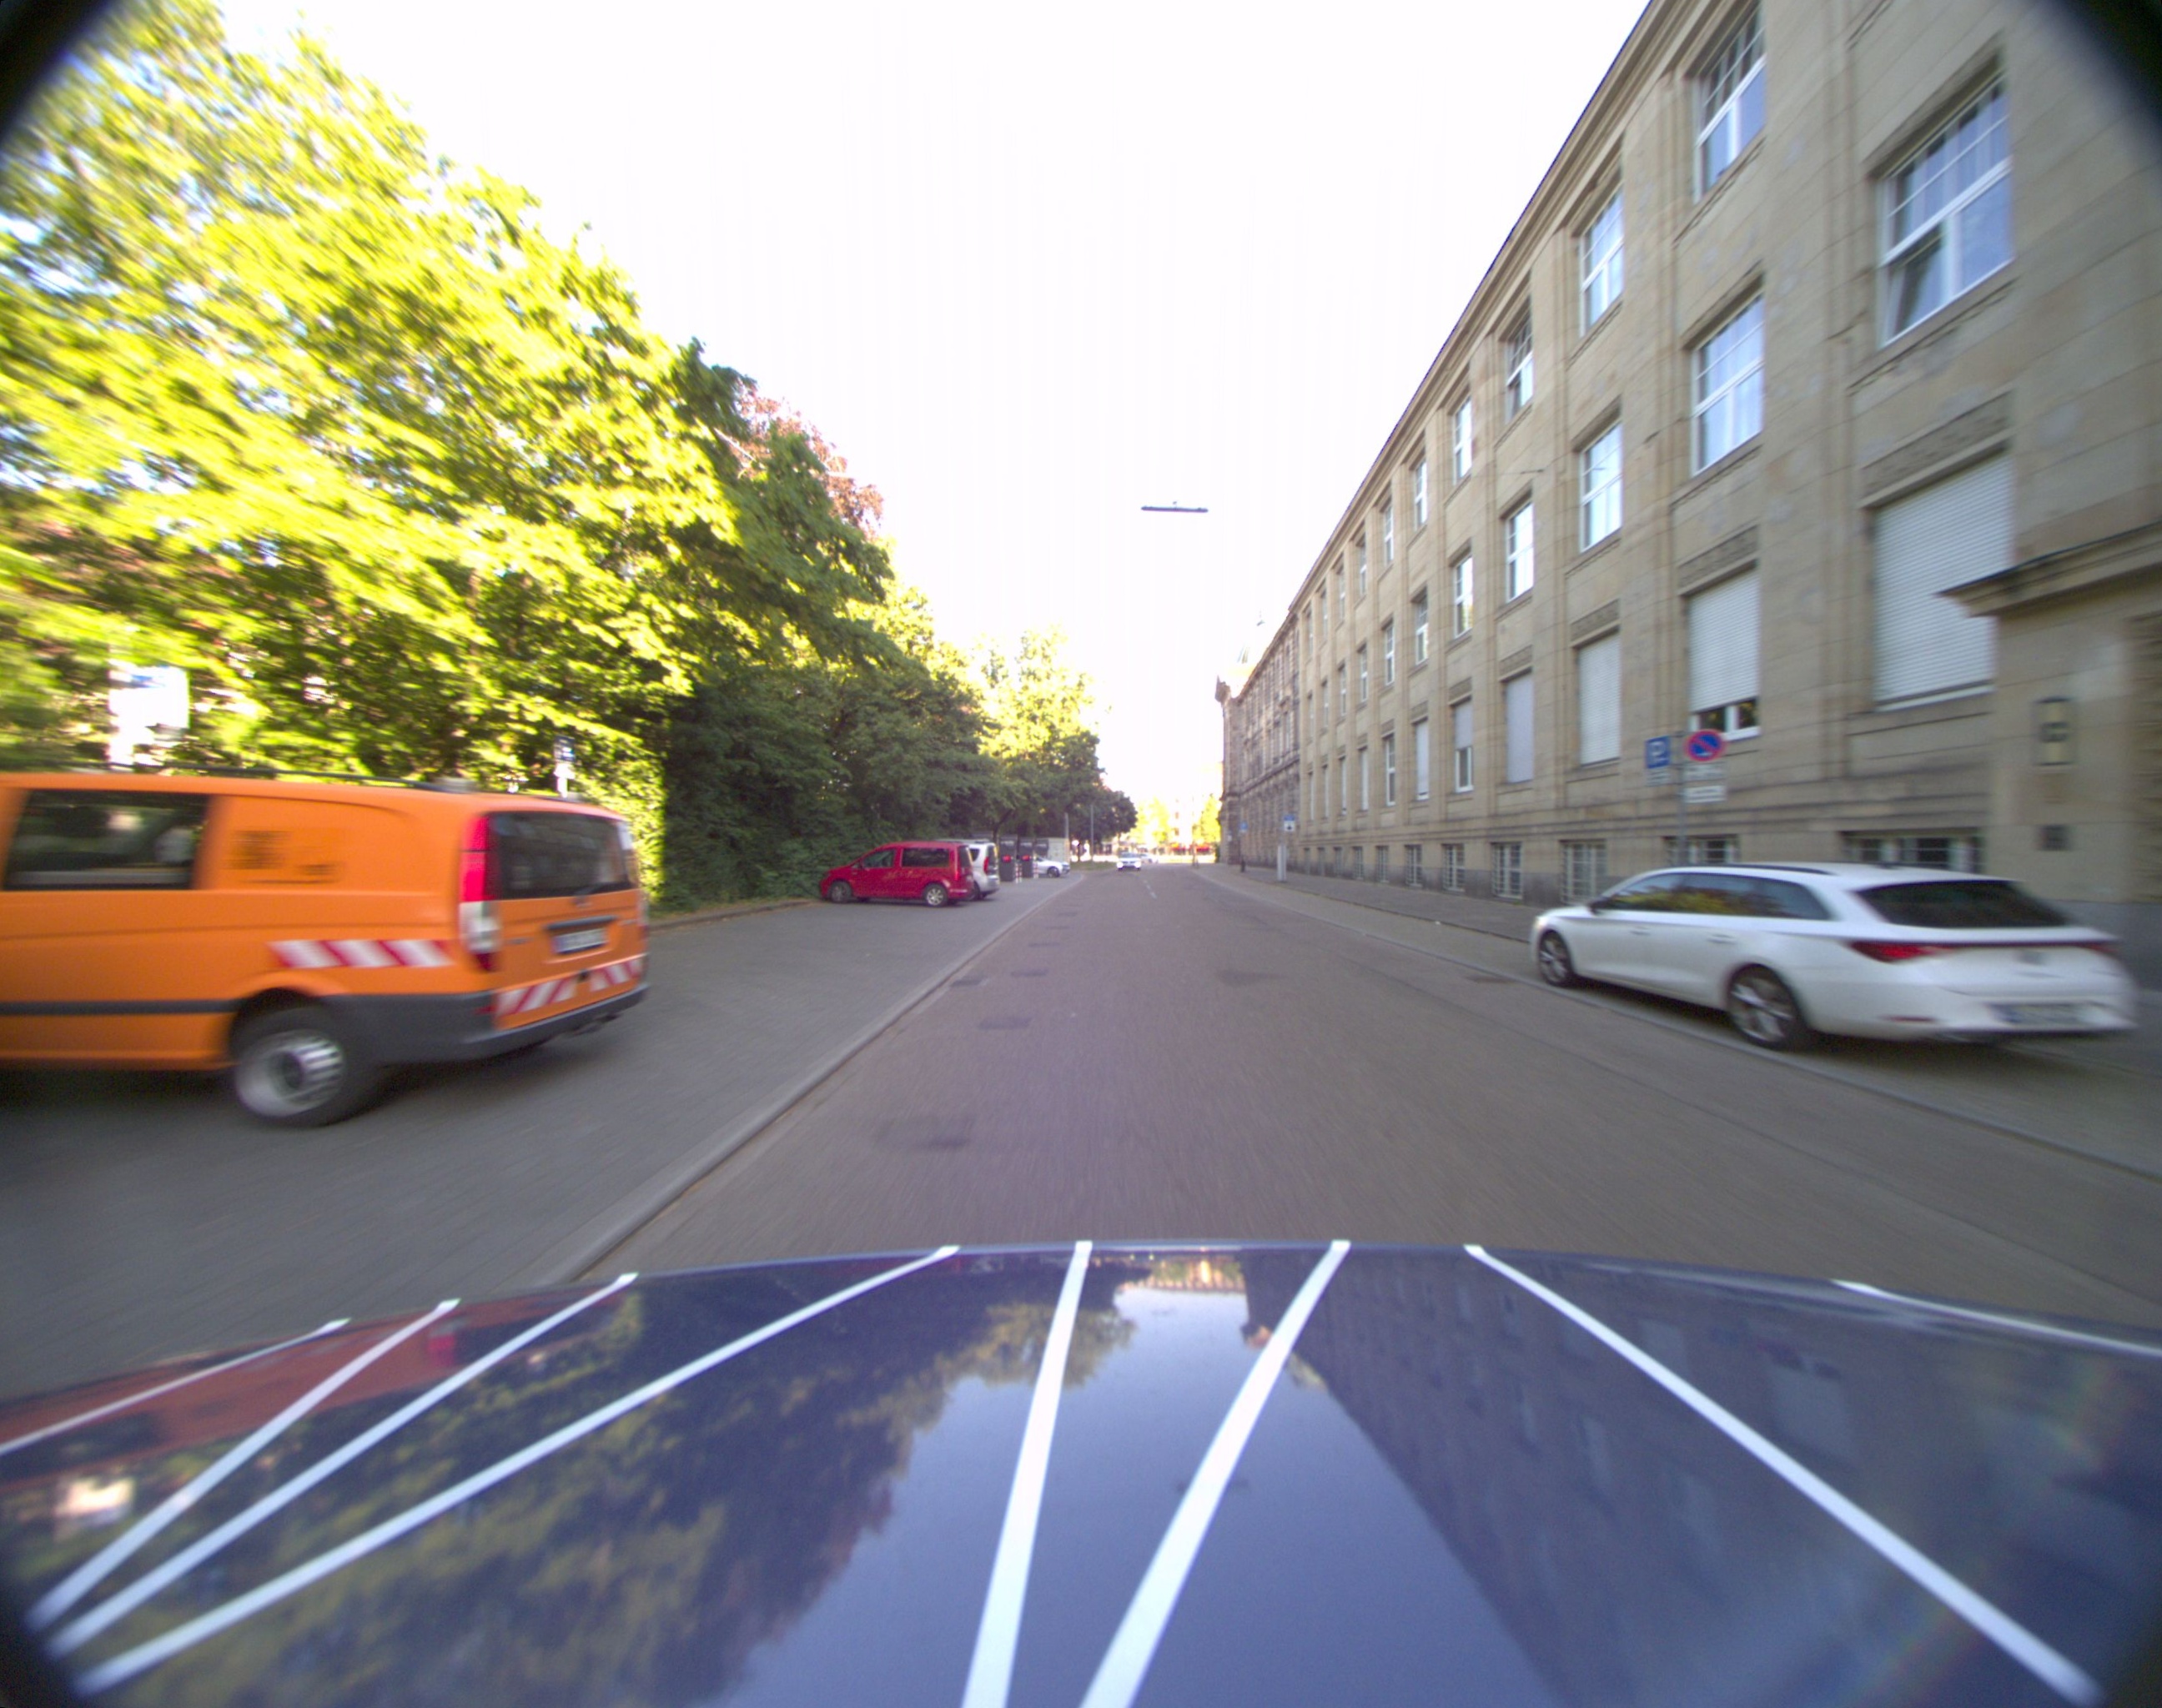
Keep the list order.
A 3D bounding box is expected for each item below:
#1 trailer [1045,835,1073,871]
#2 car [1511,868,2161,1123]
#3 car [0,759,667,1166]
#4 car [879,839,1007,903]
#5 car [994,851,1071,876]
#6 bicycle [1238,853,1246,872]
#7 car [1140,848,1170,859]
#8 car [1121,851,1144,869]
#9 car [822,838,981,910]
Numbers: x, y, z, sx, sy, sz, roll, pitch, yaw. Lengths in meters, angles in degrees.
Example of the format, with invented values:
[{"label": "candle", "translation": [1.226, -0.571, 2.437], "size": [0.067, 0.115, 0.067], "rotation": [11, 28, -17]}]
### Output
[{"label": "trailer", "translation": [-1.612, -0.099, 56.553], "size": [1.600, 2.625, 3.704], "rotation": [0, 1, 5]}, {"label": "car", "translation": [6.086, 0.912, 6.949], "size": [1.748, 1.426, 4.560], "rotation": [-1, 0, 1]}, {"label": "car", "translation": [-5.611, 0.509, 4.792], "size": [4.808, 1.986, 2.080], "rotation": [2, 1, -2]}, {"label": "car", "translation": [-4.337, 0.517, 24.220], "size": [3.608, 1.873, 1.784], "rotation": [1, 1, 6]}, {"label": "car", "translation": [-2.916, 0.577, 46.197], "size": [4.440, 1.458, 1.711], "rotation": [0, 1, 5]}, {"label": "bicycle", "translation": [10.690, 0.533, 50.402], "size": [0.457, 1.202, 1.879], "rotation": [0, 1, 13]}, {"label": "car", "translation": [11.264, -0.064, 116.438], "size": [4.270, 1.634, 1.808], "rotation": [0, 1, 39]}, {"label": "car", "translation": [4.258, 0.467, 62.532], "size": [1.687, 1.445, 4.105], "rotation": [0, 0, 7]}, {"label": "car", "translation": [-5.041, 0.535, 21.665], "size": [3.979, 1.852, 1.920], "rotation": [1, 1, 7]}]
